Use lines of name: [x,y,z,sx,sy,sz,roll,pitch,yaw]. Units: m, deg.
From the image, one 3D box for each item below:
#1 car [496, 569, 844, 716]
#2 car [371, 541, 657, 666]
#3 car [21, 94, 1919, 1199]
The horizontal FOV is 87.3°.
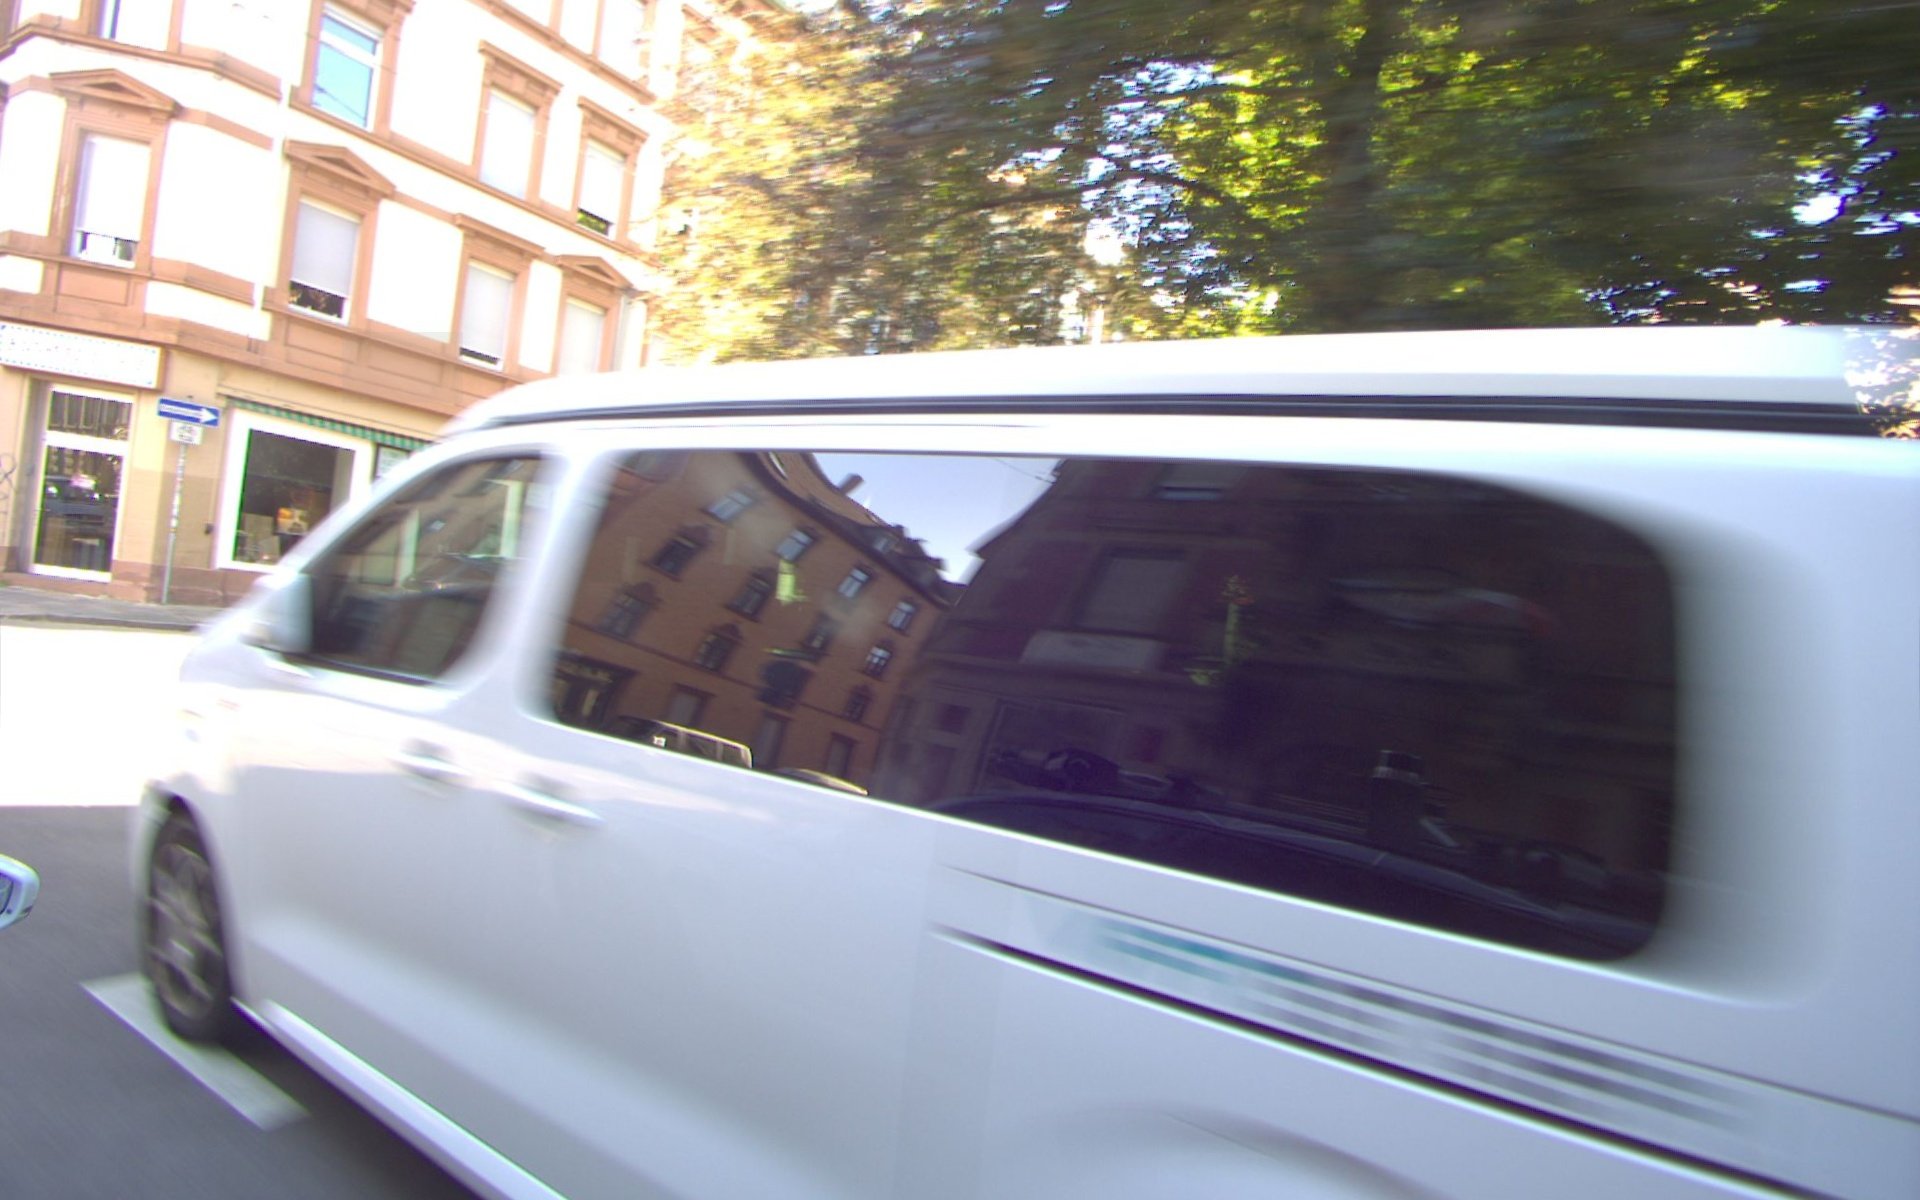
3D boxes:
car: [-3.506,0.616,12.814,1.770,1.455,3.923,4,-3,35]
car: [-7.334,0.114,16.864,1.736,1.626,3.919,4,-3,38]
car: [-0.403,0.487,2.639,4.714,2.024,1.914,7,1,34]
